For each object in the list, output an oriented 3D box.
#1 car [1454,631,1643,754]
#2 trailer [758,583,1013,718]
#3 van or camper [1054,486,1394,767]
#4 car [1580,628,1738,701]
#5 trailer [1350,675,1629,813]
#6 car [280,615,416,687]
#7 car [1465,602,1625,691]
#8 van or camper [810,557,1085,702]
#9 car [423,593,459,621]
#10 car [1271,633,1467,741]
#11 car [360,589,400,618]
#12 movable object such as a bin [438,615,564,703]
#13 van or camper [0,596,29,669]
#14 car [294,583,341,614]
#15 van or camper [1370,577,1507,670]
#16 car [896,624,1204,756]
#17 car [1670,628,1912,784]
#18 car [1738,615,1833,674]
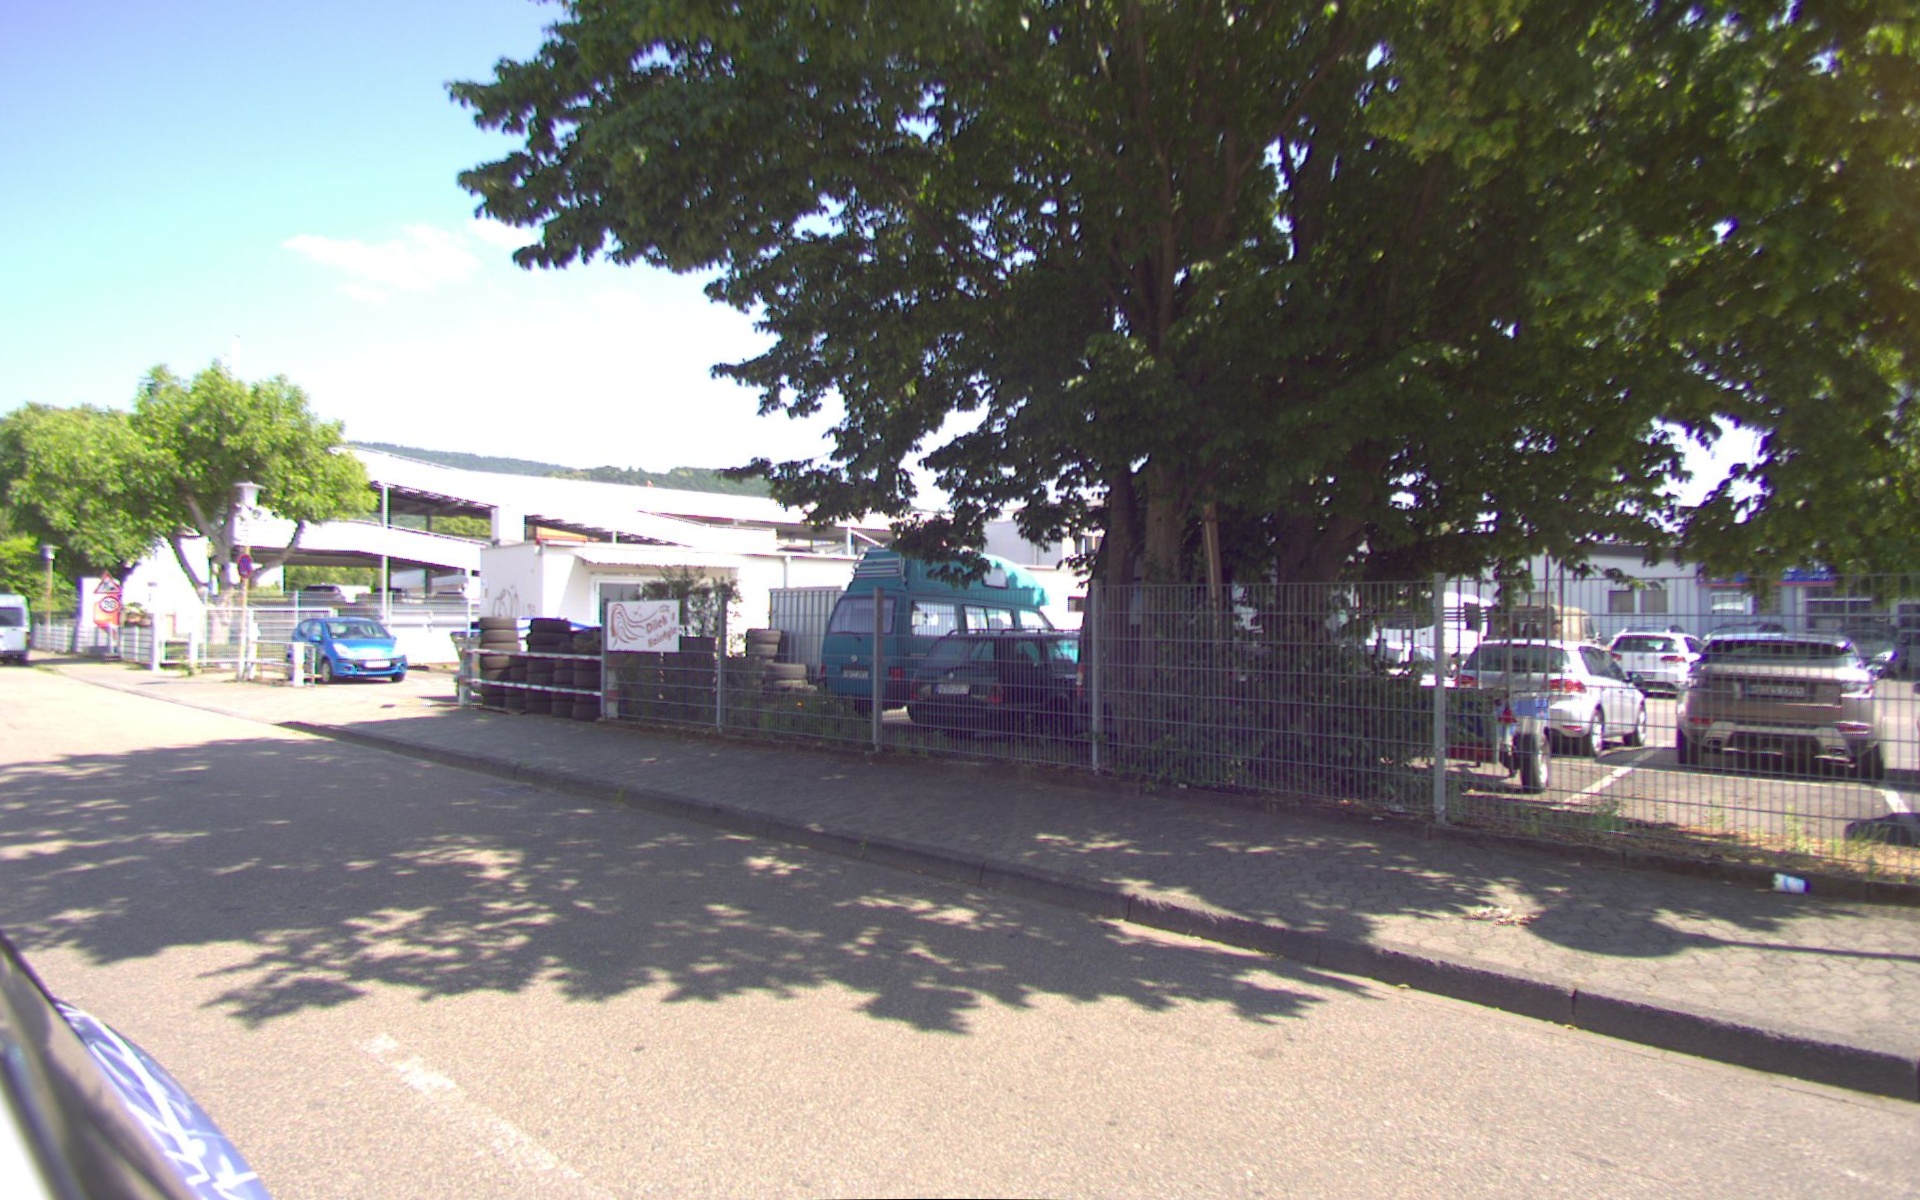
[{"bbox_3d":[8.288,1.168,14.109,1.684,1.463,3.735,-1,-2,40],"label":"car"},{"bbox_3d":[-1.254,0.797,18.947,1.999,2.171,4.720,0,1,41],"label":"trailer"},{"bbox_3d":[3.239,0.312,11.702,1.846,2.596,4.604,0,-2,43],"label":"van or camper"},{"bbox_3d":[16.595,1.454,23.945,4.355,1.569,1.995,2,-2,-40],"label":"car"},{"bbox_3d":[5.245,1.286,9.861,1.612,0.946,3.246,-1,-2,43],"label":"trailer"},{"bbox_3d":[-14.078,1.105,23.238,3.522,1.469,1.624,0,1,40],"label":"car"},{"bbox_3d":[14.737,1.125,25.392,4.508,2.029,2.061,2,-2,-40],"label":"car"},{"bbox_3d":[-0.062,0.348,15.227,1.774,1.877,4.137,0,1,43],"label":"van or camper"},{"bbox_3d":[-28.303,0.360,55.229,1.680,1.469,3.537,-1,1,-27],"label":"car"},{"bbox_3d":[6.207,1.202,15.165,1.730,1.389,3.588,-1,-2,39],"label":"car"},{"bbox_3d":[-30.517,0.169,53.336,1.680,1.469,3.537,-1,1,-27],"label":"car"},{"bbox_3d":[-7.948,0.962,17.472,1.364,1.368,2.105,-1,1,-43],"label":"movable object such as a bin"},{"bbox_3d":[-33.293,1.054,34.284,4.683,2.395,2.002,0,-3,41],"label":"van or camper"},{"bbox_3d":[-32.499,-0.029,51.291,1.680,1.469,3.536,1,-2,-27],"label":"car"},{"bbox_3d":[13.008,0.631,27.373,4.532,2.323,1.783,2,-1,-43],"label":"van or camper"},{"bbox_3d":[1.249,1.021,12.797,1.861,1.397,3.871,-1,-2,45],"label":"car"},{"bbox_3d":[10.001,1.131,12.333,1.973,1.559,3.948,-1,-2,38],"label":"car"},{"bbox_3d":[25.274,1.371,30.953,2.000,1.697,3.943,-2,-3,43],"label":"car"}]
